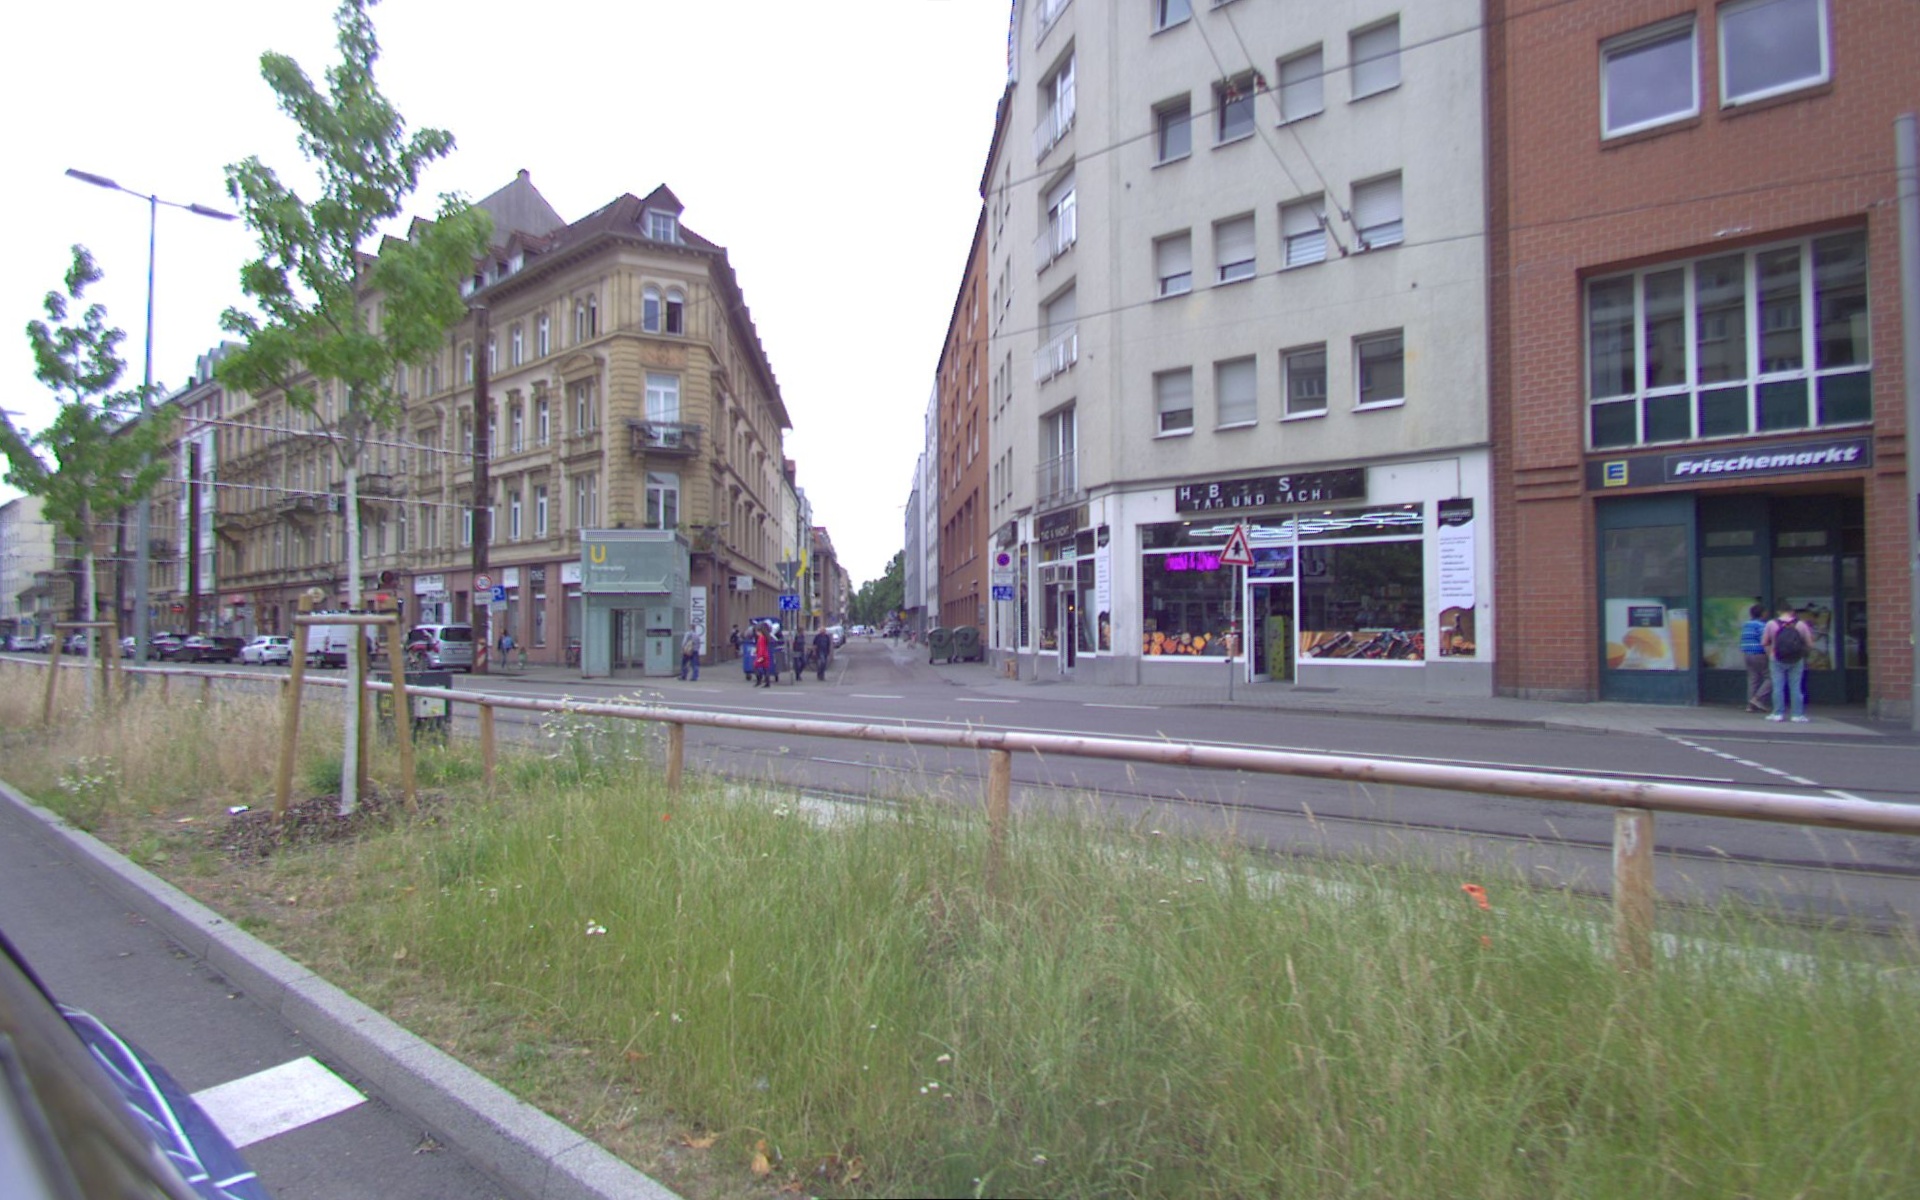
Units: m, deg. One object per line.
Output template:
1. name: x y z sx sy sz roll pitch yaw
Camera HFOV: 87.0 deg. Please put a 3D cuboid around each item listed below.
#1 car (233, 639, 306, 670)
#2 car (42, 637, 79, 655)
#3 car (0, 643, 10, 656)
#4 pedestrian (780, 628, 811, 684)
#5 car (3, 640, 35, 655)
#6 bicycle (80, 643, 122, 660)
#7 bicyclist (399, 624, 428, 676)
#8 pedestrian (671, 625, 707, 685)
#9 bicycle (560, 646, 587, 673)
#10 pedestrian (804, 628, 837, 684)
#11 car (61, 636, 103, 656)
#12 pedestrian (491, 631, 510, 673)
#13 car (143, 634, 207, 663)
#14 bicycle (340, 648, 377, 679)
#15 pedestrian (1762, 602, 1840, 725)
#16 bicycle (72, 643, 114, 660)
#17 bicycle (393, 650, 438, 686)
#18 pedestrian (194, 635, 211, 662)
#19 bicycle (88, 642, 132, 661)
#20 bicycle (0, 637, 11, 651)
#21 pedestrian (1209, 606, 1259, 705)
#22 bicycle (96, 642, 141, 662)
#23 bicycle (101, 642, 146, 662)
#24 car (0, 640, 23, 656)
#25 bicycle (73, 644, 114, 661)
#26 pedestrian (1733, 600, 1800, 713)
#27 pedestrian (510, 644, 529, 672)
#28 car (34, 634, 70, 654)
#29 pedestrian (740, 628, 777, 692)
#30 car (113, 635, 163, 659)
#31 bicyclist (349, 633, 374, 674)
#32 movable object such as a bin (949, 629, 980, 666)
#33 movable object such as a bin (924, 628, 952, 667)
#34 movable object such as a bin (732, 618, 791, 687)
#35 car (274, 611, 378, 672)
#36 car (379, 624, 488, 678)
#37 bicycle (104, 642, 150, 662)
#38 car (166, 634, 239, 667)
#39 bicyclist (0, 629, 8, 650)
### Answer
1. car: -33.779 2.662 49.447 4.159 1.434 1.753 -2 -5 39
2. car: -75.504 3.893 84.939 3.918 1.500 1.725 -3 -4 41
3. car: -104.859 5.438 110.083 3.430 1.391 1.632 -3 -4 37
4. pedestrian: -5.118 1.729 31.494 0.651 1.700 0.724 2 -2 -35
5. car: -90.221 4.559 97.041 4.042 1.476 1.726 -2 -4 40
6. bicycle: -63.112 3.767 74.357 0.704 1.212 2.259 -2 -4 40
7. bicyclist: -16.467 1.495 30.487 0.811 1.552 0.486 -2 -3 38
8. pedestrian: -7.900 1.589 29.522 0.811 1.700 0.725 2 -2 -33
9. bicycle: -14.438 2.225 37.784 0.336 0.966 1.689 0 -1 -43
10. pedestrian: -4.417 1.757 31.931 0.651 1.700 0.926 2 -2 -35
11. car: -67.719 3.541 78.022 4.221 1.545 1.726 -2 -4 39
12. pedestrian: -17.416 1.971 38.378 0.546 1.568 0.659 0 -1 -33
13. car: -47.629 2.949 61.334 5.023 1.703 1.796 -2 -4 37
14. bicycle: -20.989 2.197 35.308 1.910 1.029 0.474 -2 -3 39
15. pedestrian: 11.982 0.886 14.446 0.797 1.696 0.564 -1 0 36
16. bicycle: -64.247 3.817 75.018 0.704 1.212 2.259 -2 -4 40
17. bicycle: -16.358 2.032 30.389 1.910 1.029 0.471 -2 -3 39
18. pedestrian: -50.730 3.241 67.750 0.644 1.796 0.787 -1 -1 -14
19. bicycle: -60.985 3.727 72.629 0.666 1.339 2.259 -2 -4 40
20. bicycle: -85.710 3.932 90.768 2.044 1.183 0.579 -2 -4 42
21. pedestrian: 4.865 0.974 17.960 0.719 1.700 0.656 0 -2 28
22. bicycle: -58.311 3.582 70.140 0.666 1.339 2.259 -2 -4 40
23. bicycle: -56.906 3.548 68.845 0.520 1.339 2.259 -2 -4 40
24. car: -93.923 4.707 99.660 4.541 1.533 1.805 -3 -4 40
25. bicycle: -64.681 3.884 75.565 0.547 1.212 2.259 -2 -2 40
26. pedestrian: 12.584 0.861 15.807 0.720 1.700 0.655 0 -2 31
27. pedestrian: -16.765 2.198 38.538 0.547 1.038 0.453 0 -1 -42
28. car: -79.066 3.861 88.144 4.042 1.685 1.726 -2 -4 40
29. pedestrian: -5.457 1.613 27.454 0.659 1.700 0.715 0 -2 29
30. car: -53.962 3.097 66.427 3.916 1.500 1.726 -2 -4 39
31. bicyclist: -20.811 1.849 35.201 0.811 1.417 0.474 -2 -3 38
32. movable object such as a bin: 0.160 1.878 40.127 0.994 1.416 1.241 -1 -1 -9
33. movable object such as a bin: -0.887 1.874 40.103 0.931 1.512 1.241 -1 -1 -9
34. movable object such as a bin: -5.984 1.548 30.458 1.019 1.996 1.619 2 -2 -43
35. car: -27.811 1.847 44.339 5.659 2.506 2.032 -2 -5 39
36. car: -19.618 1.881 37.637 4.514 1.879 1.884 -2 -4 39
37. bicycle: -56.325 3.503 68.417 0.666 1.339 2.259 -2 -4 40
38. car: -41.254 2.756 55.087 5.046 1.702 1.900 -2 -5 39
39. bicyclist: -86.156 3.563 91.098 1.028 1.897 0.638 -2 -1 41
